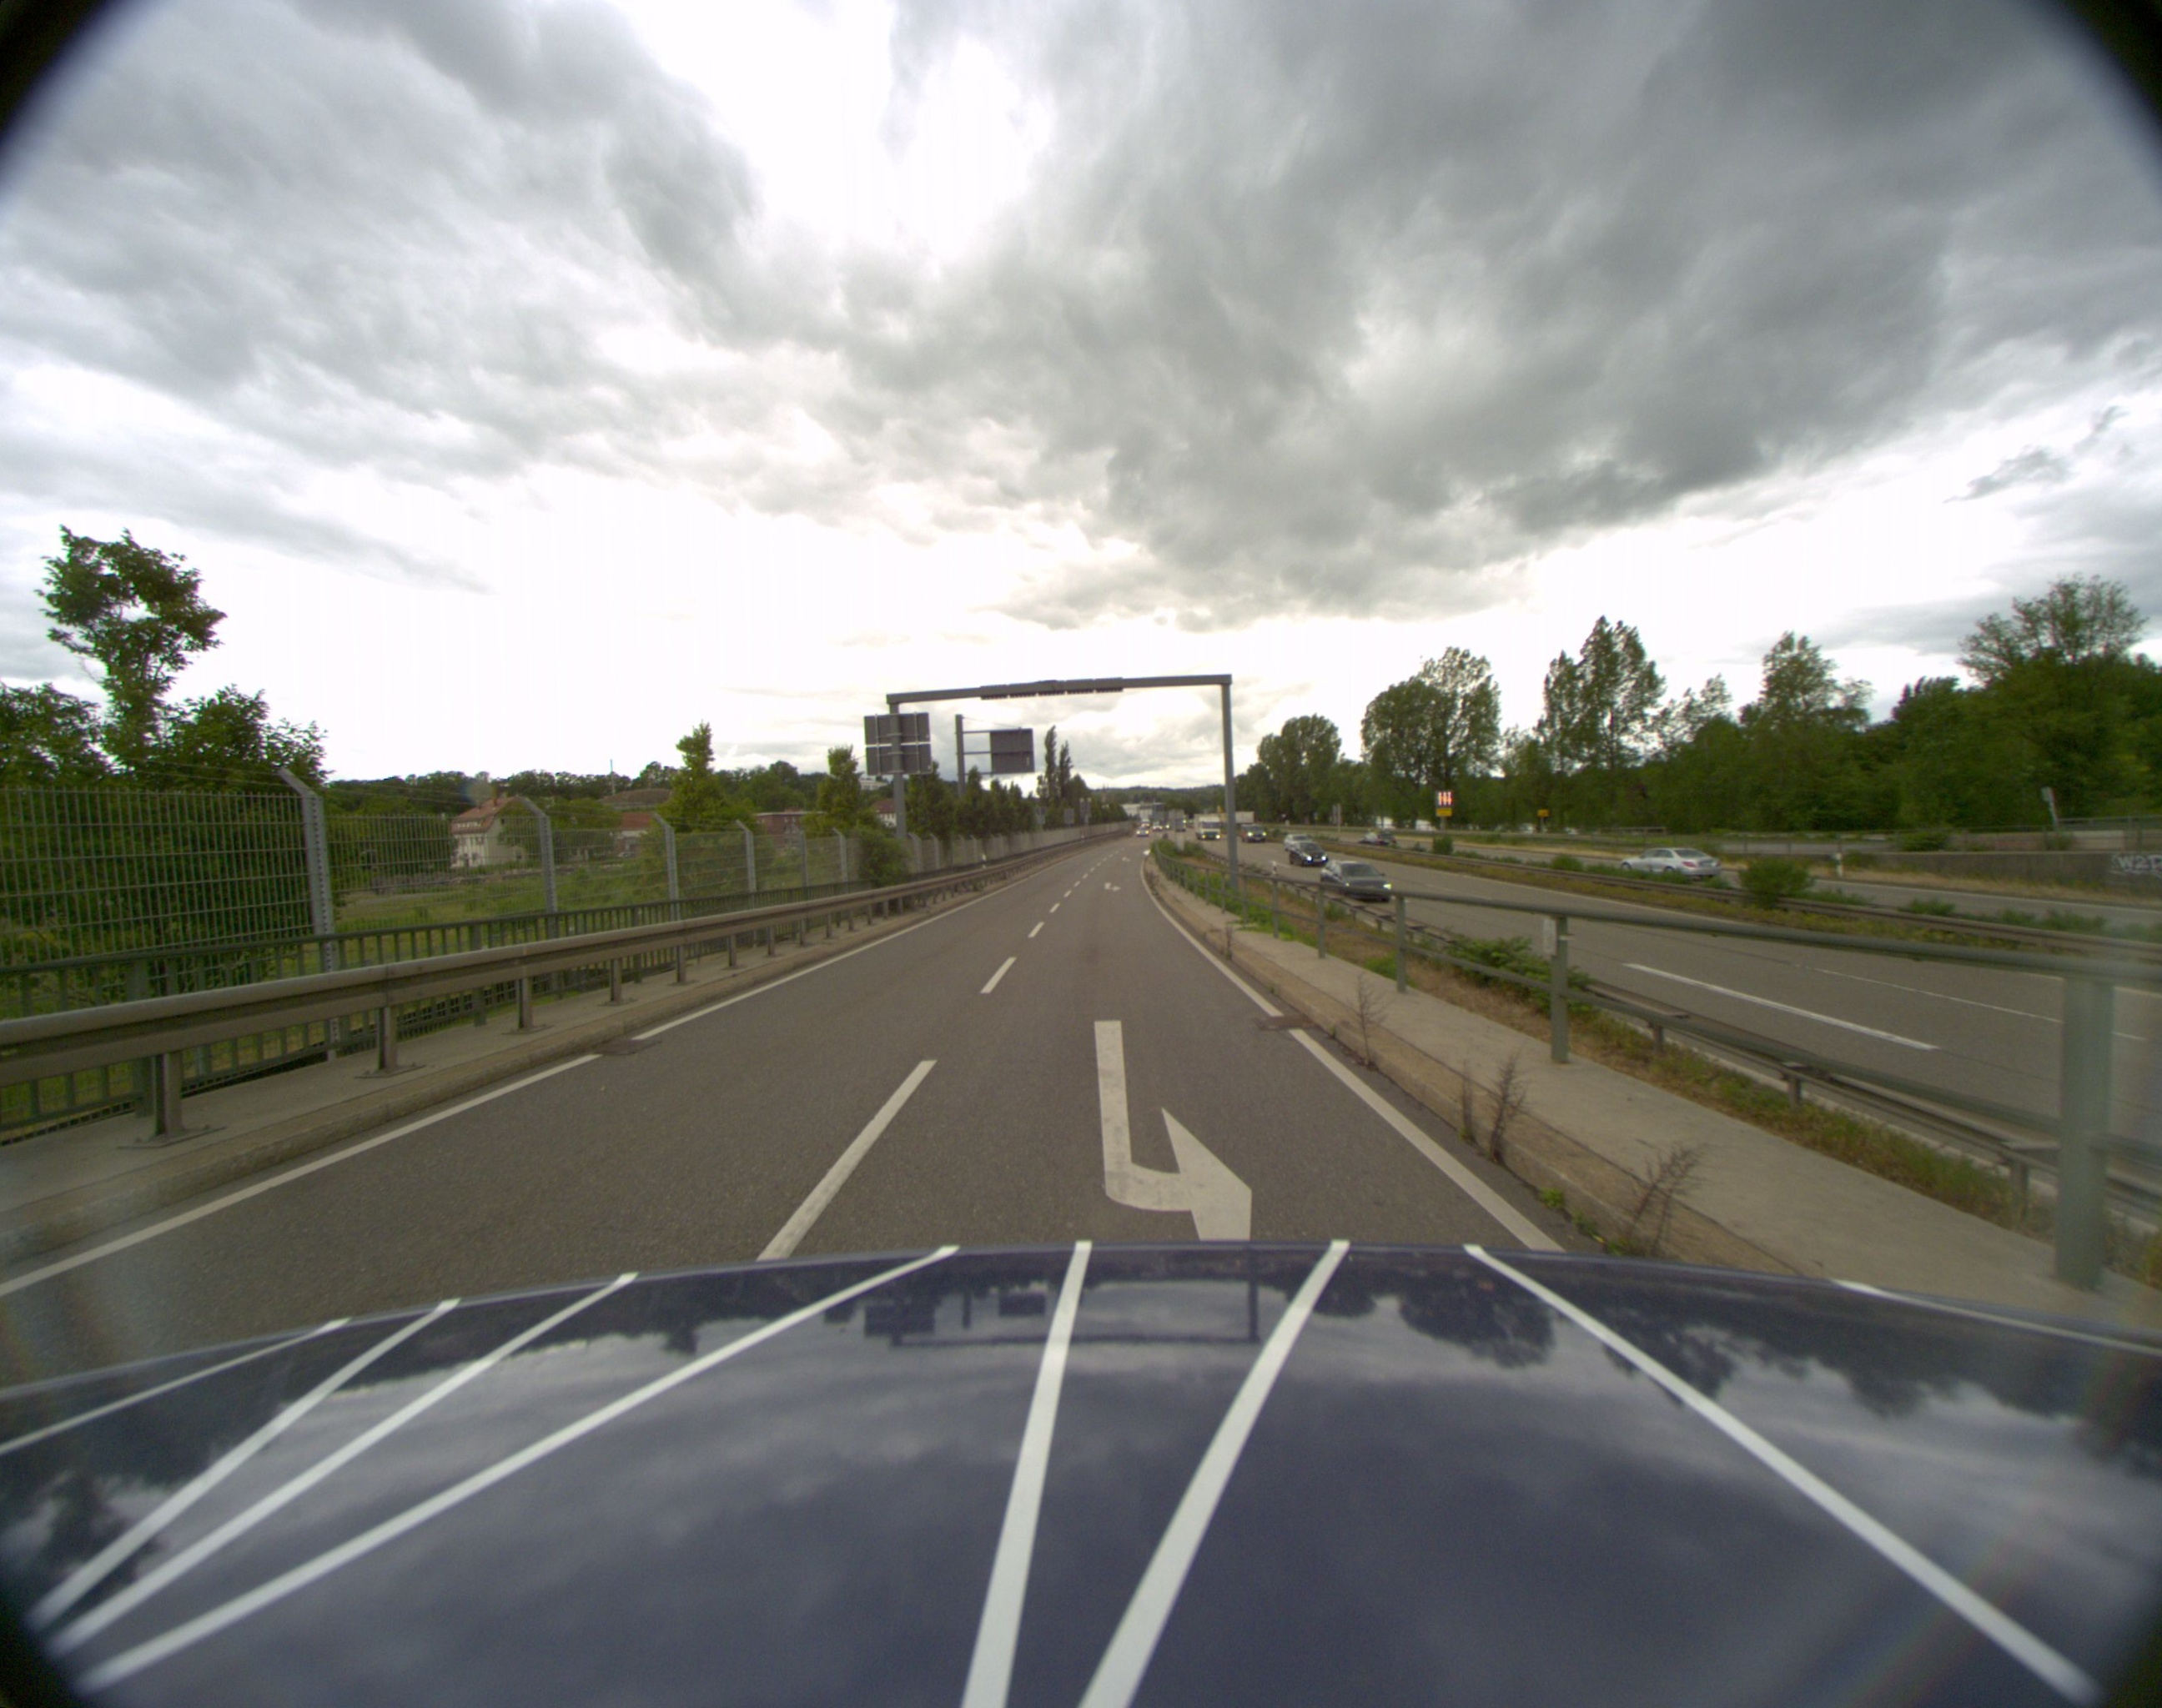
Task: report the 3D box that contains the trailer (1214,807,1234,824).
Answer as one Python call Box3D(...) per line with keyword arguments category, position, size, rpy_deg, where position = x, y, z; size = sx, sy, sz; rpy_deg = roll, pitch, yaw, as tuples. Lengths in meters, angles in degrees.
Box3D(category="trailer", position=(41.137, -11.047, 219.736), size=(3.471, 4.648, 14.777), rpy_deg=(-2, 3, 3))

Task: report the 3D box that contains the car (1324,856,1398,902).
Box3D(category="car", position=(10.907, 0.938, 29.902), size=(1.939, 1.492, 4.305), rpy_deg=(0, 2, 9))

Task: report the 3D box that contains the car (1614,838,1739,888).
Box3D(category="car", position=(27.203, 0.338, 34.948), size=(1.998, 1.684, 4.698), rpy_deg=(-1, 6, 1))

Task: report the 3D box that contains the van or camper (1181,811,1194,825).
Box3D(category="van or camper", position=(21.014, -7.186, 150.066), size=(2.209, 2.590, 6.327), rpy_deg=(-2, 4, 6))

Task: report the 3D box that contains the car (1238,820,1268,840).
Box3D(category="car", position=(18.975, -2.713, 84.129), size=(2.099, 2.003, 5.335), rpy_deg=(-1, 4, 0))

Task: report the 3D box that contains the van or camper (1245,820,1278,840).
Box3D(category="van or camper", position=(18.934, -2.605, 79.982), size=(1.887, 1.859, 6.344), rpy_deg=(-3, 4, 0))

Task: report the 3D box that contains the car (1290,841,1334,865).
Box3D(category="car", position=(14.366, -0.085, 47.442), size=(1.728, 1.320, 3.646), rpy_deg=(-1, 2, 2))

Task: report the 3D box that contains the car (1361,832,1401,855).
Box3D(category="car", position=(24.717, -0.866, 62.719), size=(1.998, 1.718, 3.999), rpy_deg=(-1, 2, 4))

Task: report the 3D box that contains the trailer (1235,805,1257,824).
Box3D(category="trailer", position=(37.655, -9.101, 173.976), size=(2.796, 3.928, 13.508), rpy_deg=(-3, 3, 3))

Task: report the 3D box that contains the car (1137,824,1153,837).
Box3D(category="car", position=(9.810, -3.598, 116.068), size=(1.997, 2.002, 4.001), rpy_deg=(-1, 2, 9))

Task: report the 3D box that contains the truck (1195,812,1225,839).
Box3D(category="truck", position=(16.173, -3.672, 95.760), size=(3.038, 3.142, 7.566), rpy_deg=(-1, 4, 5))
